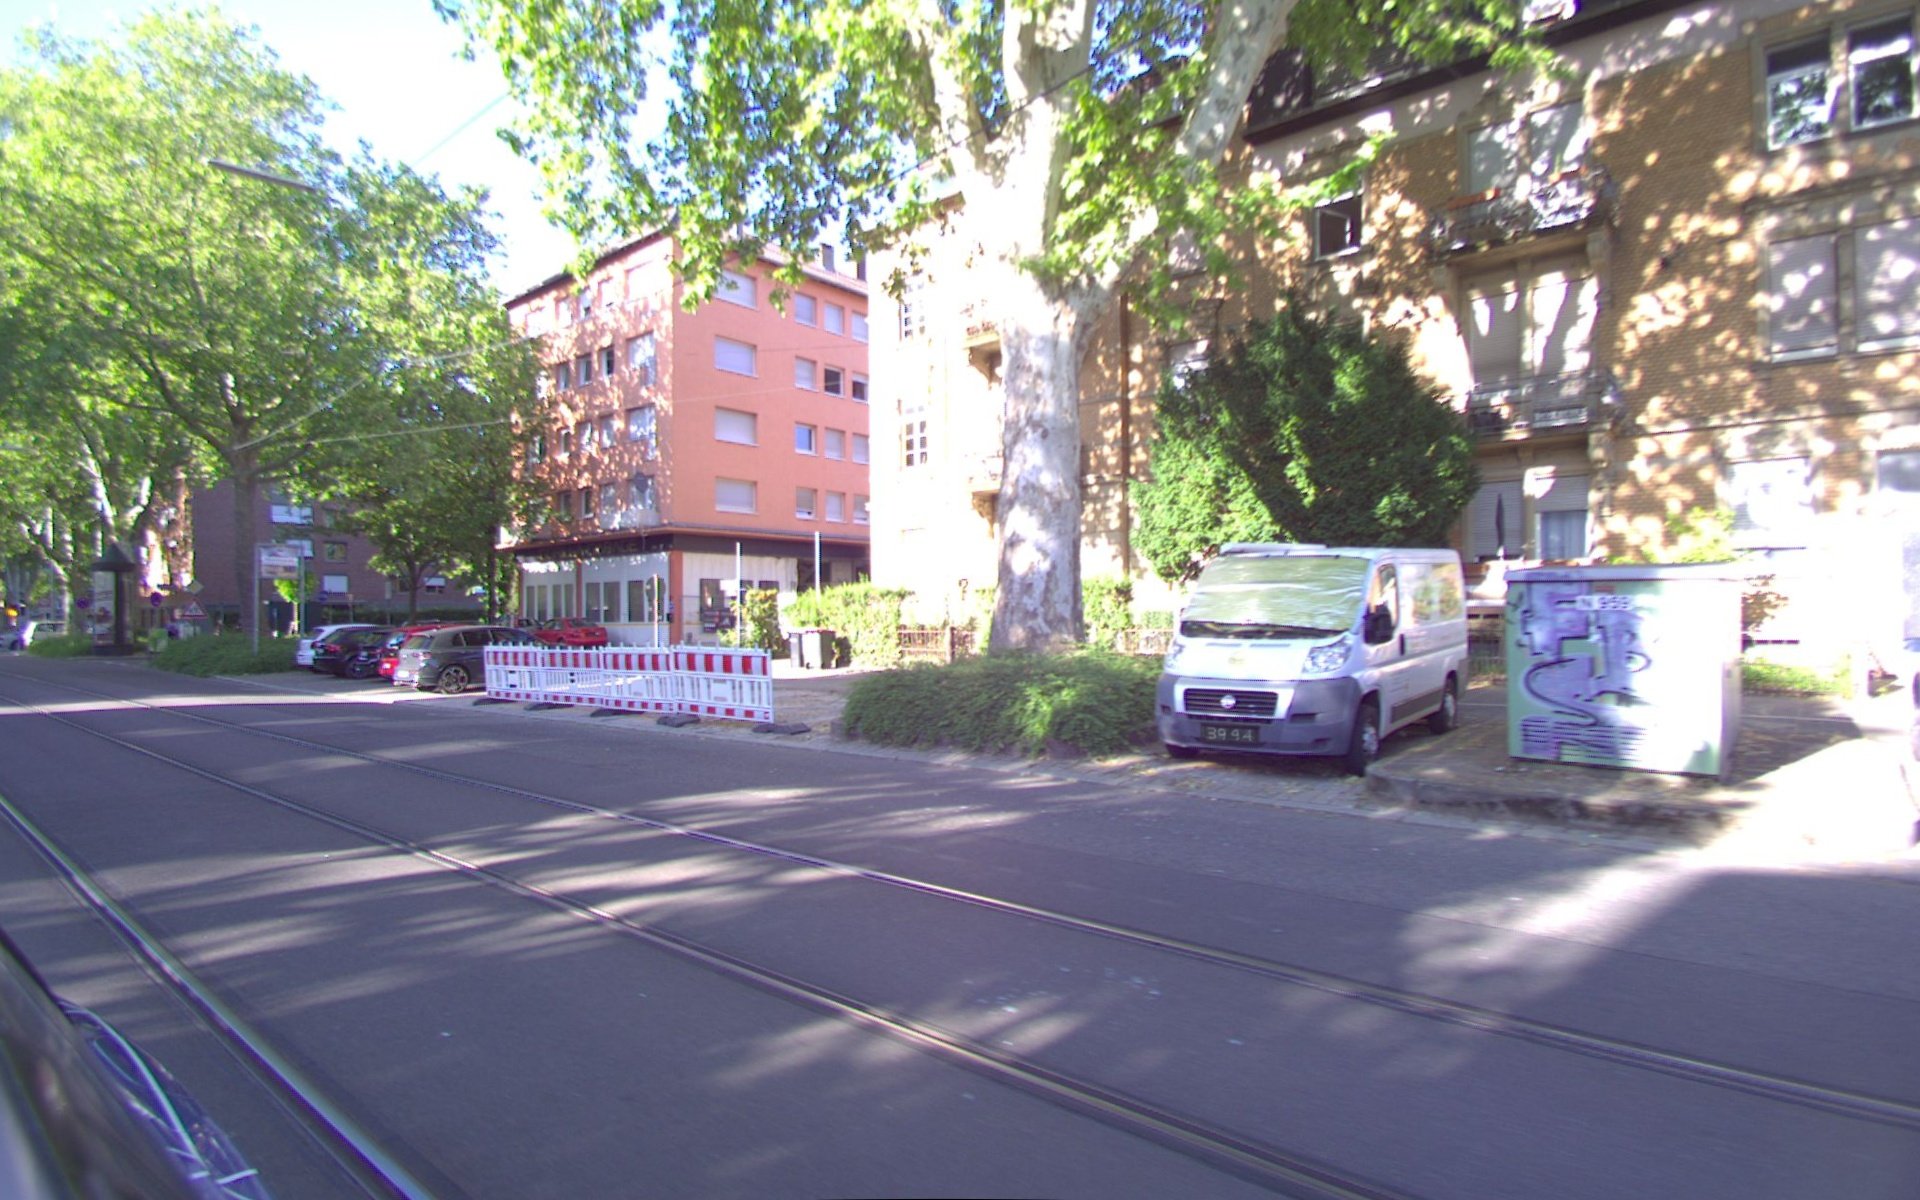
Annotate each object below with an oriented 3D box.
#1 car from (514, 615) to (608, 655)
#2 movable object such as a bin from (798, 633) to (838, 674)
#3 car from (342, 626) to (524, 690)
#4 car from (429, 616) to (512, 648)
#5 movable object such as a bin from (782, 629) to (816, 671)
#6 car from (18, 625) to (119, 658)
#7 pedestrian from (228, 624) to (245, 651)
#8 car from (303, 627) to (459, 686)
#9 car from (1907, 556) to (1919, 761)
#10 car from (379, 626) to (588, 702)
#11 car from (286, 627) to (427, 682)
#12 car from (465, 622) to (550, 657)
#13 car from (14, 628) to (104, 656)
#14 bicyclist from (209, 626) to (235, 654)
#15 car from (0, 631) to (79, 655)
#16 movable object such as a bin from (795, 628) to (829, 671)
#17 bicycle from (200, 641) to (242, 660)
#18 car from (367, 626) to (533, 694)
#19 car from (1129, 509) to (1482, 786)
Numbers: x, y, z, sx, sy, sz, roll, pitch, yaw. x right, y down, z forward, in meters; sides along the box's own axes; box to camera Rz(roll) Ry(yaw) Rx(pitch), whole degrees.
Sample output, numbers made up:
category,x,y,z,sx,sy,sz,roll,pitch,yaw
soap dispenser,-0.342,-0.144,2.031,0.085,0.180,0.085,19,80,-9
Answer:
category,x,y,z,sx,sy,sz,roll,pitch,yaw
car,-15.997,1.378,40.525,3.999,1.498,1.927,-1,0,42
movable object such as a bin,-3.713,1.390,26.445,0.736,1.030,0.714,-2,0,43
car,-14.318,1.515,27.630,1.821,1.476,4.038,-2,0,43
car,-24.154,1.583,49.914,3.986,1.504,1.799,-1,0,31
movable object such as a bin,-4.372,1.348,27.545,0.543,1.118,0.716,-2,0,43
car,-55.752,2.575,63.353,1.937,1.848,4.525,-1,0,40
pedestrian,-45.741,2.381,63.996,0.779,1.686,0.702,-2,0,41
car,-16.583,1.565,29.087,1.687,1.476,3.562,-2,0,43
car,8.258,0.518,7.128,1.923,1.815,4.258,-2,-1,38
car,-10.932,1.406,23.410,1.853,1.476,3.946,-1,0,41
car,-18.426,1.605,30.965,1.697,1.476,3.382,-2,0,43
car,-19.655,1.690,43.905,3.891,1.418,1.927,-1,0,42
car,-58.163,2.683,65.362,1.901,1.659,4.098,-1,0,40
bicyclist,-40.997,2.196,56.243,1.113,1.518,0.794,-1,0,31
car,-64.442,2.969,70.210,1.953,1.471,4.716,-1,0,40
movable object such as a bin,-3.969,1.318,27.169,0.560,1.118,0.715,-2,0,43
bicycle,-41.128,2.780,56.318,2.574,1.006,0.961,-1,0,32
car,-12.926,1.466,25.755,1.759,1.476,3.382,-2,0,43
car,3.971,0.385,10.966,2.083,2.276,4.985,-2,0,38
